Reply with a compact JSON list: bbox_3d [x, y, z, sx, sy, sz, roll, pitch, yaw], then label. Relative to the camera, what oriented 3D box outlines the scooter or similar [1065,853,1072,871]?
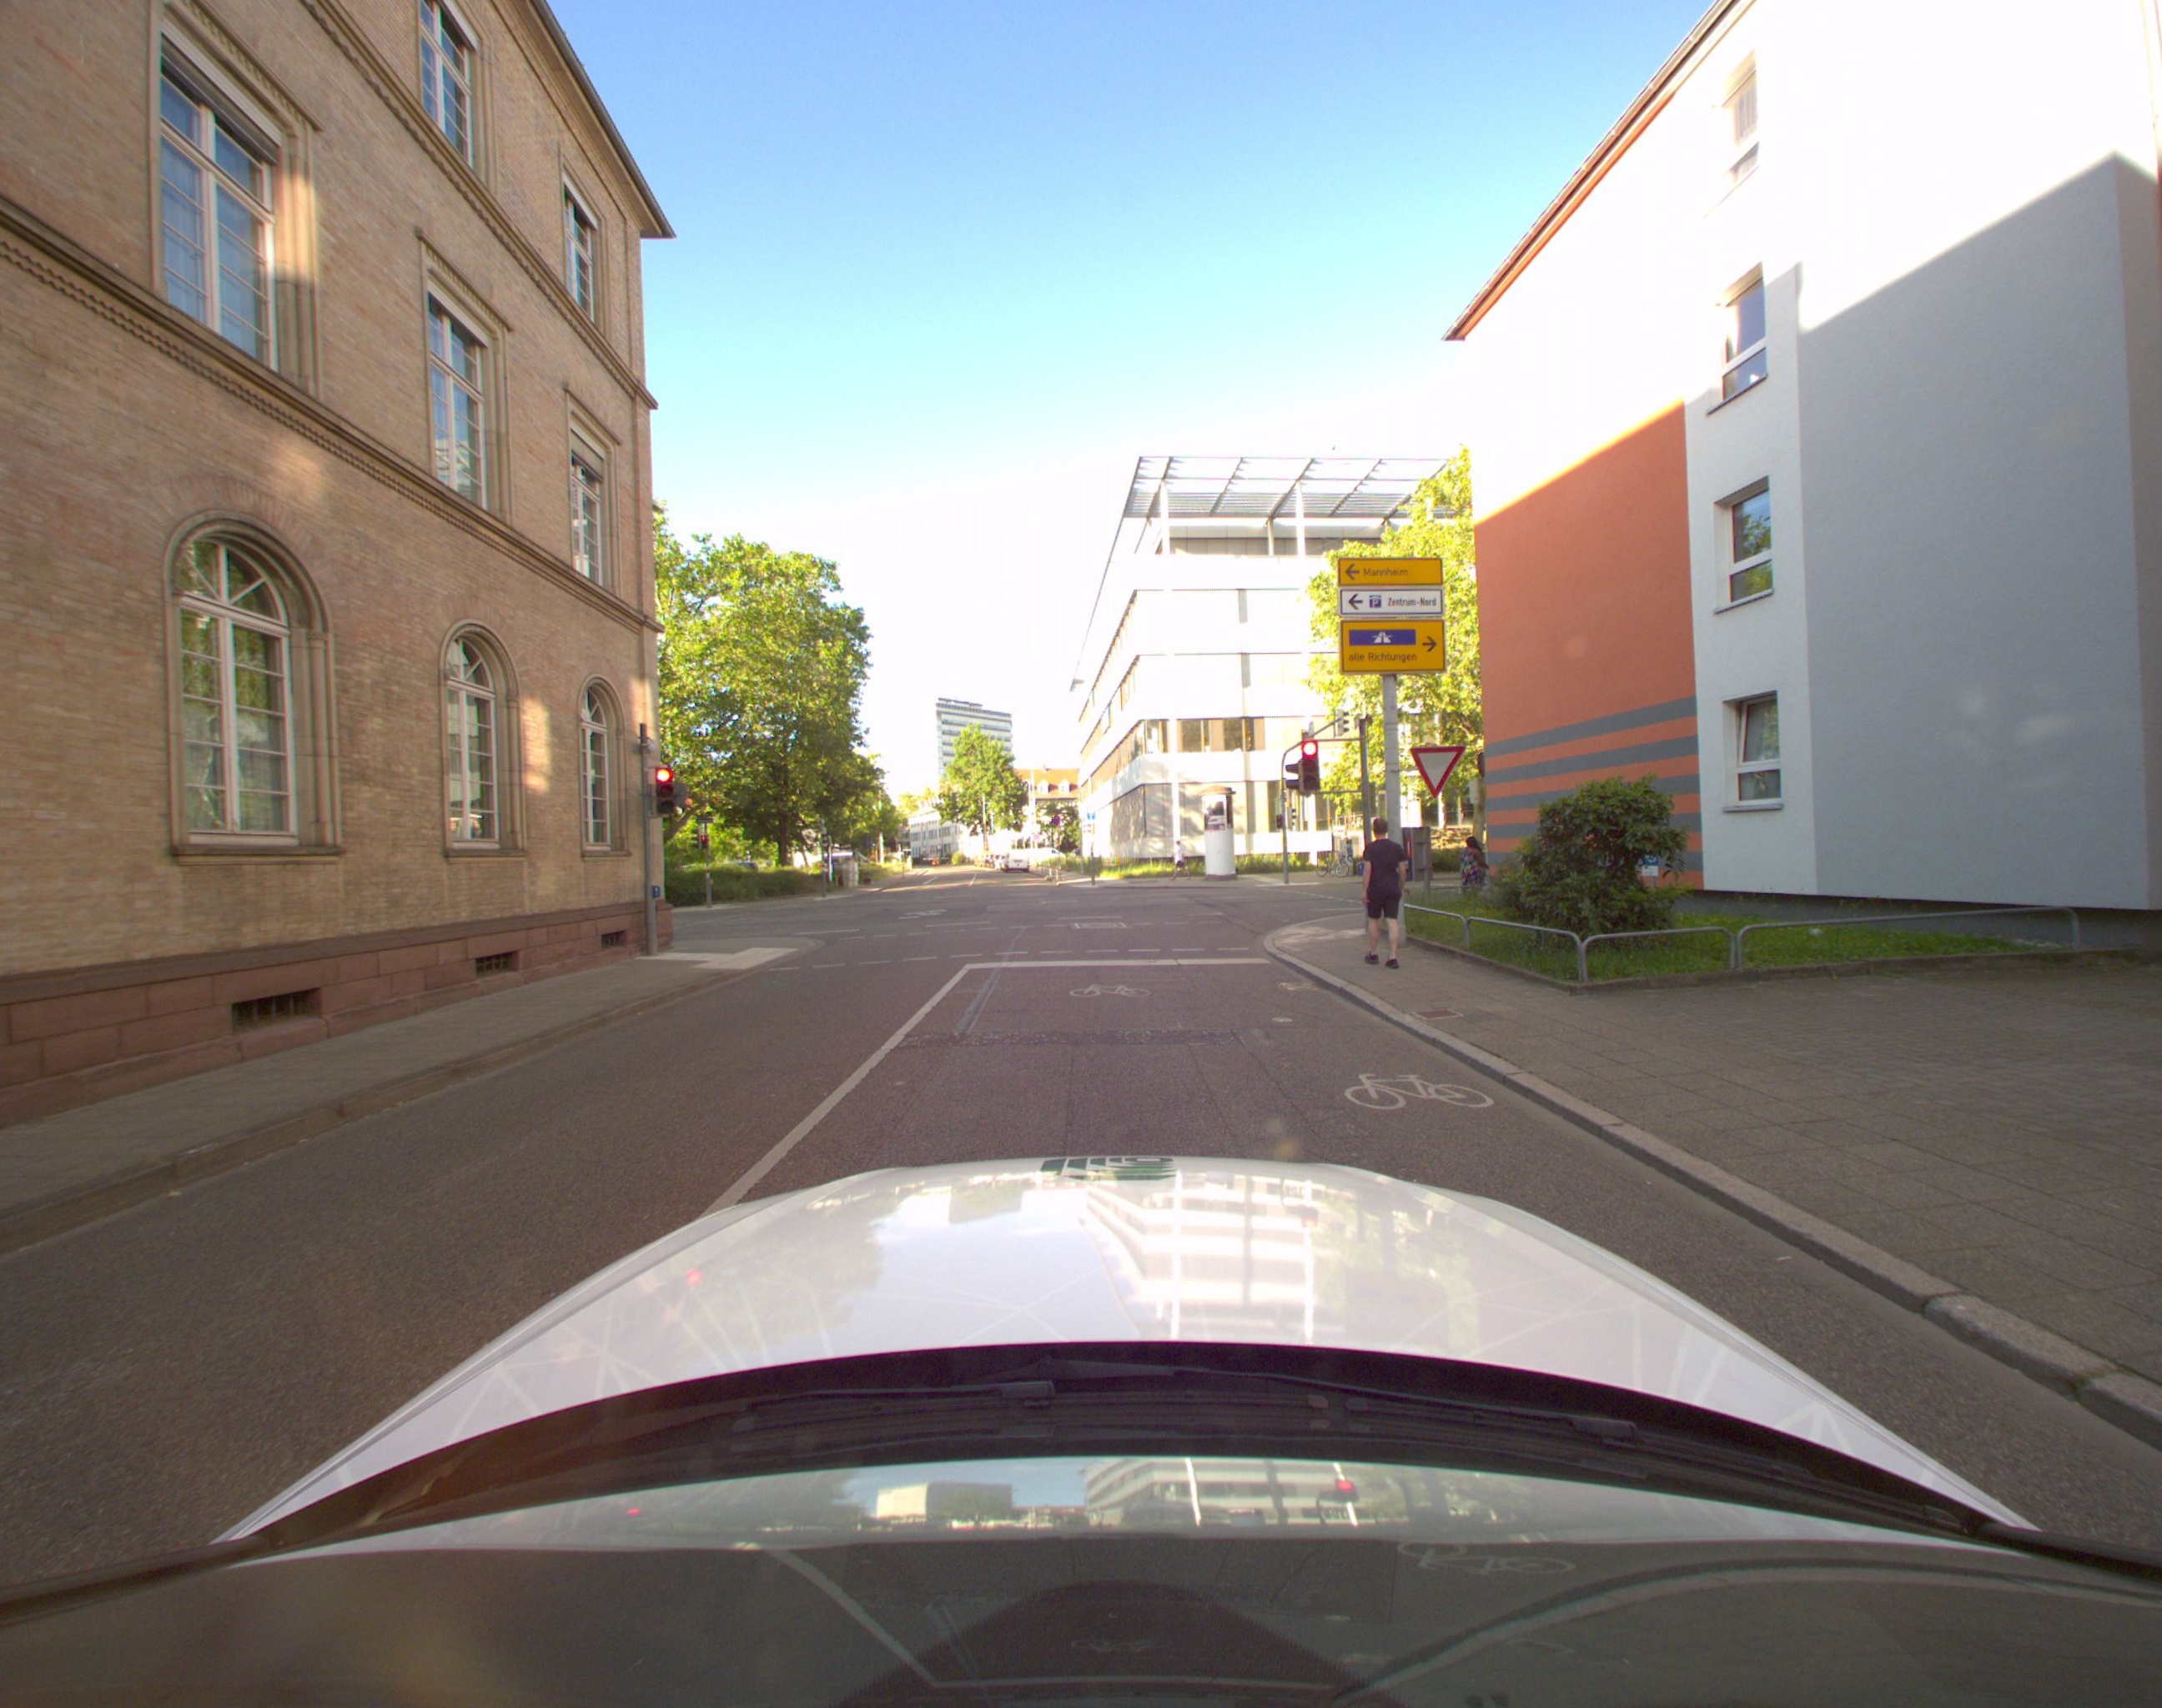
[{"bbox_3d":[-0.911,0.574,58.478,0.436,1.256,1.418,-2,0,-2],"label":"scooter or similar"}]

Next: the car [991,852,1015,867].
[{"bbox_3d":[-7.841,0.577,81.629,1.994,1.499,4.270,0,-1,-11],"label":"car"}]

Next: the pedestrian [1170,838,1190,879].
[{"bbox_3d":[4.600,0.208,37.942,0.910,1.869,0.743,0,-1,5],"label":"pedestrian"}]

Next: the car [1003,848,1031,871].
[{"bbox_3d":[-5.170,0.462,65.120,1.992,1.725,4.640,0,-1,-7],"label":"car"}]

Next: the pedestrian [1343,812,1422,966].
[{"bbox_3d":[3.680,0.418,9.995,0.697,1.810,0.720,0,-1,1],"label":"pedestrian"}]

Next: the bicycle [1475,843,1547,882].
[{"bbox_3d":[13.795,0.269,26.152,1.953,1.152,0.593,-2,0,7],"label":"bicycle"}]

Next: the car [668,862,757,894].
[{"bbox_3d":[-17.080,1.099,37.904,3.407,1.457,1.646,0,-1,-8],"label":"car"}]

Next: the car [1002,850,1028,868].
[{"bbox_3d":[-5.845,0.472,71.355,1.993,1.499,4.638,0,0,-8],"label":"car"}]

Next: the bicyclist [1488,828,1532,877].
[{"bbox_3d":[13.776,-0.047,26.161,1.069,1.527,0.593,-2,0,7],"label":"bicyclist"}]

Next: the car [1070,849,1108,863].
[{"bbox_3d":[1.024,0.238,104.958,4.644,1.725,1.990,0,-1,-15],"label":"car"}]

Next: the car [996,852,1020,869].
[{"bbox_3d":[-6.918,0.601,77.155,1.993,1.499,4.638,0,0,-8],"label":"car"}]

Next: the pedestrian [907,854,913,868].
[{"bbox_3d":[-19.246,0.756,91.697,0.700,1.587,0.633,0,-1,-14],"label":"pedestrian"}]

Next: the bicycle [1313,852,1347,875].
[{"bbox_3d":[11.009,0.417,36.030,0.381,1.008,1.416,-2,0,-40],"label":"bicycle"}]

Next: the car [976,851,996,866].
[{"bbox_3d":[-11.299,0.528,96.305,1.995,1.725,4.633,0,-1,-11],"label":"car"}]

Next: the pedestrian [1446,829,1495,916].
[{"bbox_3d":[8.385,0.390,17.516,0.723,1.810,0.693,0,-1,-39],"label":"pedestrian"}]

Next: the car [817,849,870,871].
[{"bbox_3d":[-22.022,0.529,75.770,4.441,2.014,1.995,0,-1,-8],"label":"car"}]

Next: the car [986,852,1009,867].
[{"bbox_3d":[-8.882,0.582,86.382,1.994,1.499,4.635,0,0,-10],"label":"car"}]

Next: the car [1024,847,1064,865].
[{"bbox_3d":[-4.682,0.259,103.252,4.802,2.159,1.989,0,-1,-16],"label":"car"}]
